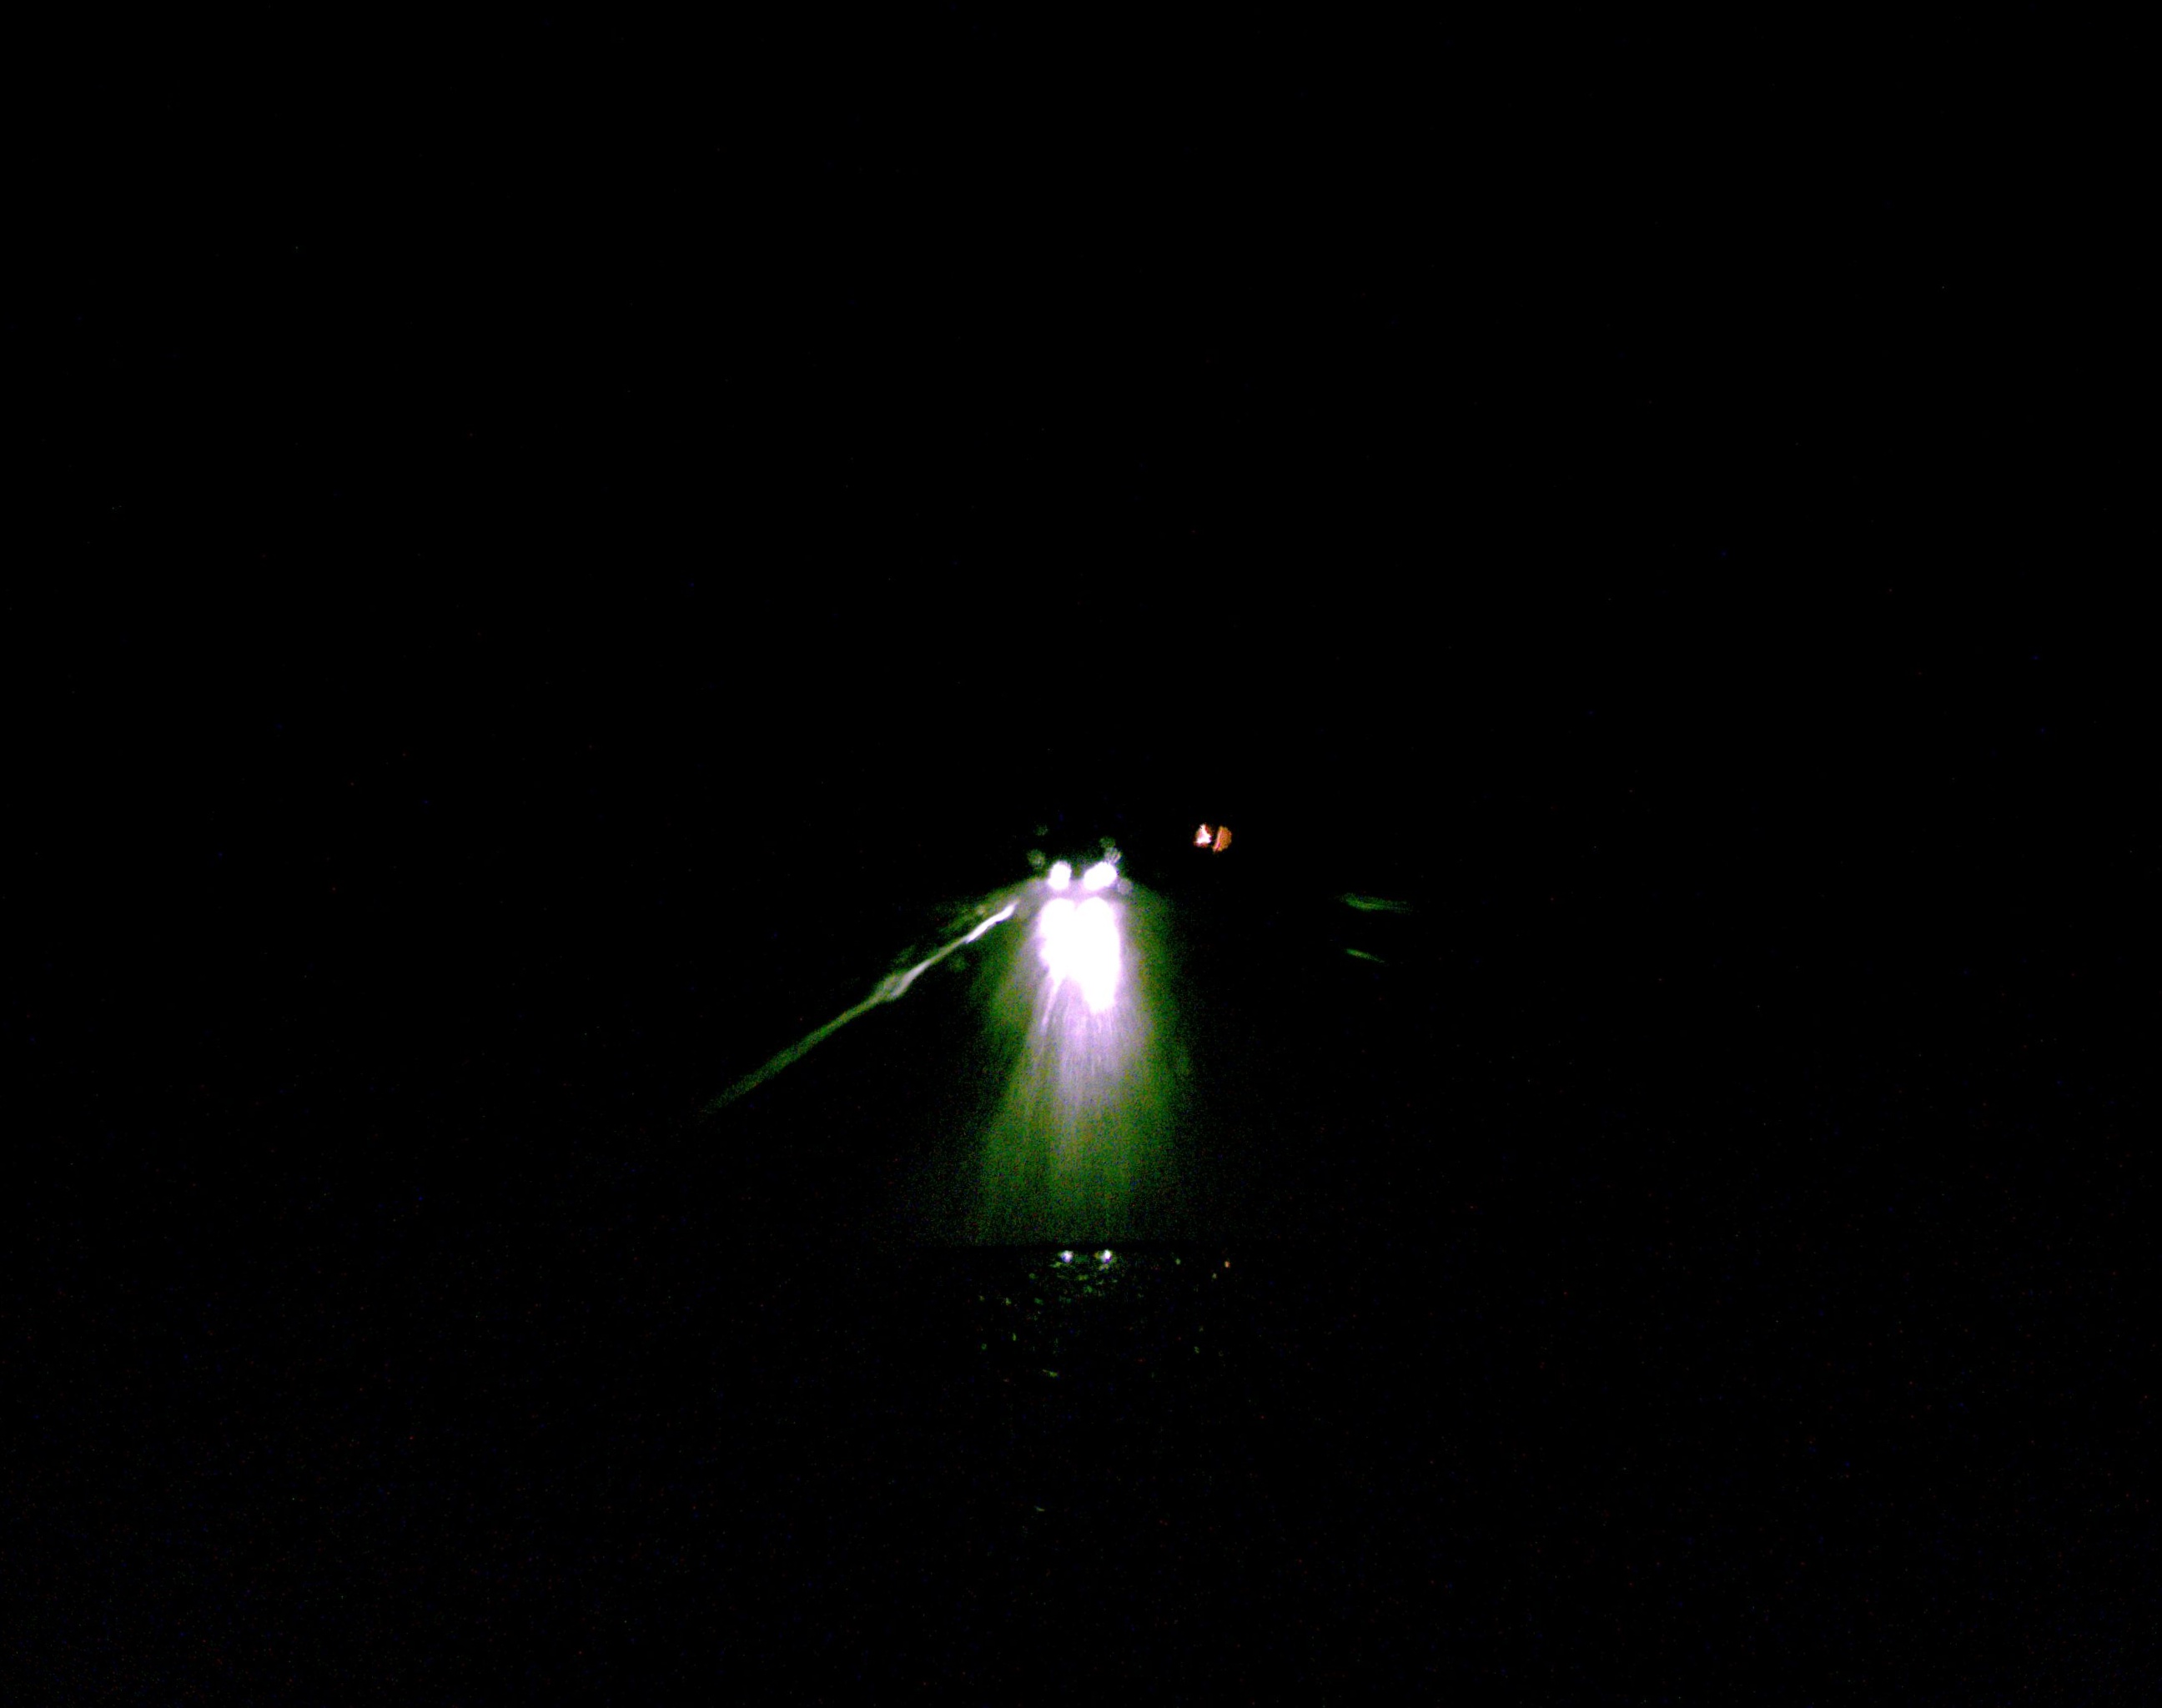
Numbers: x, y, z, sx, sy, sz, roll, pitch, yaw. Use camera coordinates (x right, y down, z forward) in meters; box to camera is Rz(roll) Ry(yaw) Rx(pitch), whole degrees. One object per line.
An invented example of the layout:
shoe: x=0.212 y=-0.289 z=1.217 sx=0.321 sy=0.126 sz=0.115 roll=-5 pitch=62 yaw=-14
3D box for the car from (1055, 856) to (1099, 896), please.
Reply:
car: x=-0.213 y=0.943 z=32.848 sx=1.793 sy=1.593 sz=4.000 roll=0 pitch=-1 yaw=-2
